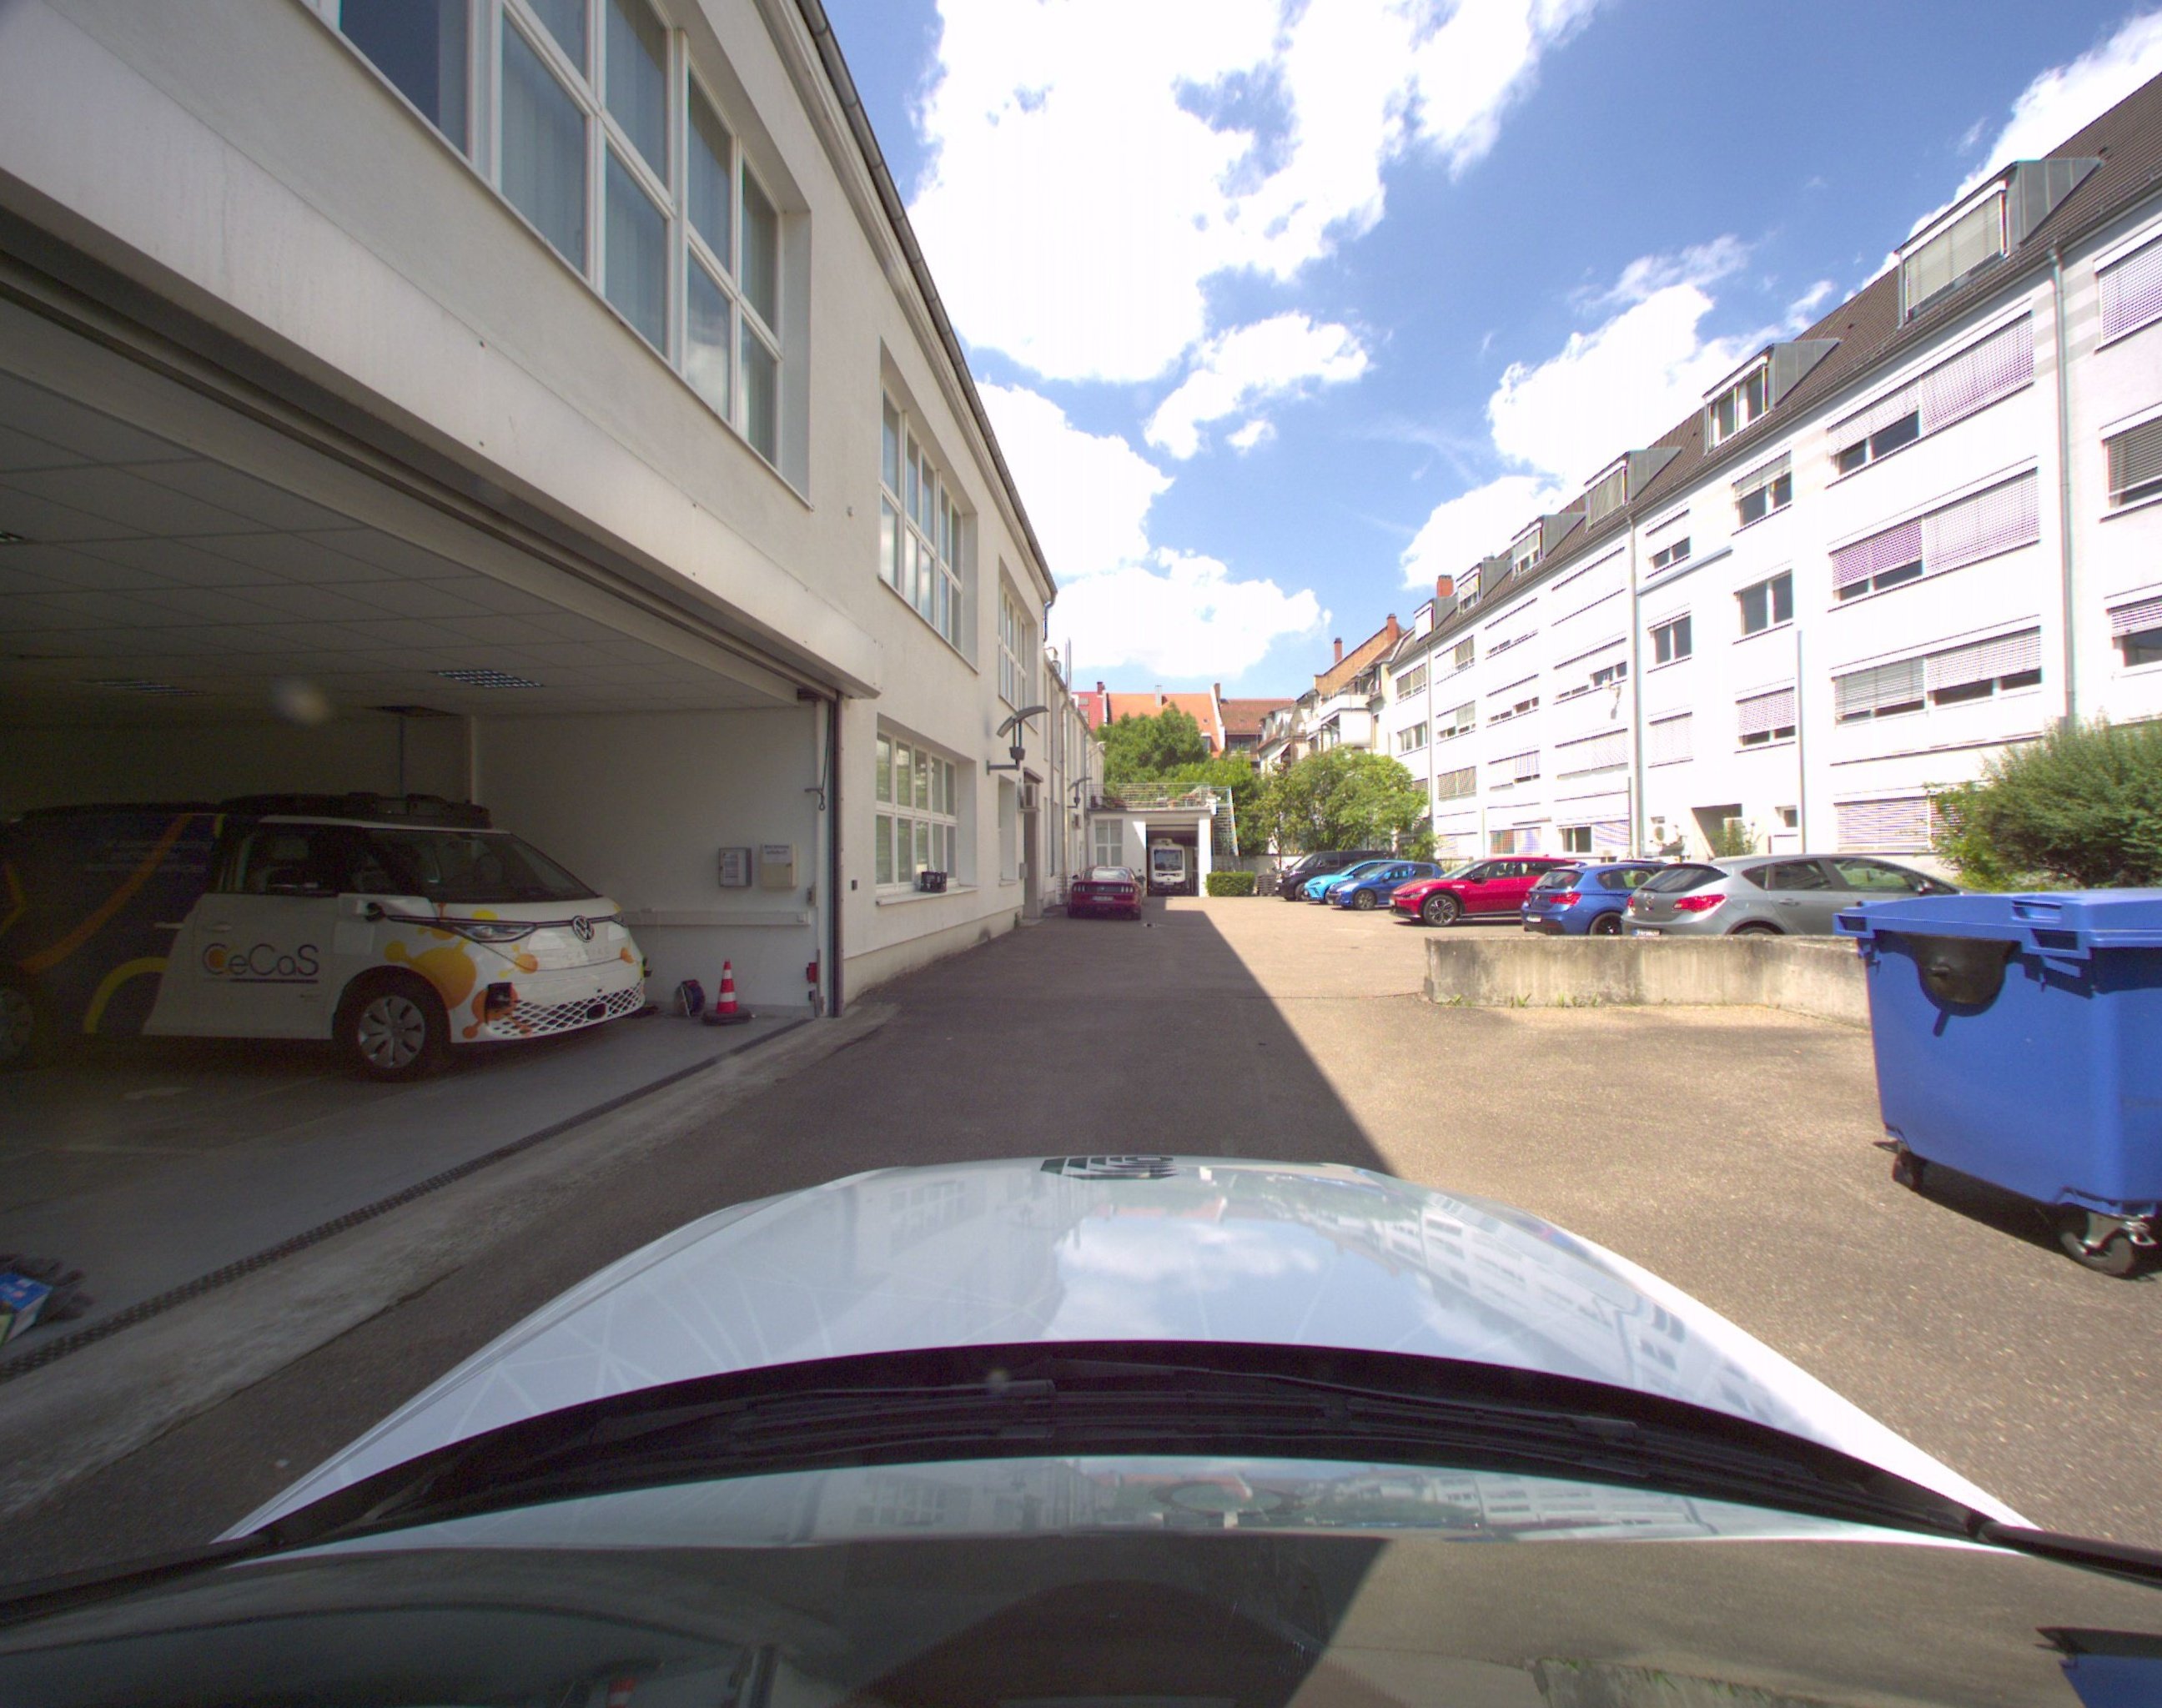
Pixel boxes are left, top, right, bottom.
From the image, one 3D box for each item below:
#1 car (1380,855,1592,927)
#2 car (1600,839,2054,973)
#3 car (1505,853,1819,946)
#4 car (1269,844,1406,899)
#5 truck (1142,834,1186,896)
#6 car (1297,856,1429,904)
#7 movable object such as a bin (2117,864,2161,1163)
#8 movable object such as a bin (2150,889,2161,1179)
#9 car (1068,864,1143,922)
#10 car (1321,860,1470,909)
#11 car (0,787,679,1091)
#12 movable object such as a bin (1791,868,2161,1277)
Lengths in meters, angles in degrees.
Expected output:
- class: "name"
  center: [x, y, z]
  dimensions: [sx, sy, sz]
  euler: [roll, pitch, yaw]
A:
- class: "car"
  center: [9.150, 0.818, 18.672]
  dimensions: [3.969, 1.478, 1.806]
  euler: [-1, -1, 4]
- class: "car"
  center: [9.151, 0.612, 10.300]
  dimensions: [3.969, 1.478, 1.806]
  euler: [-1, -1, 4]
- class: "car"
  center: [9.648, 0.737, 13.808]
  dimensions: [3.969, 1.390, 1.806]
  euler: [-1, -1, 4]
- class: "car"
  center: [9.782, 0.679, 31.352]
  dimensions: [4.656, 1.958, 2.079]
  euler: [-1, -1, 4]
- class: "truck"
  center: [4.091, 0.565, 40.980]
  dimensions: [1.782, 2.937, 4.653]
  euler: [-1, -1, 1]
- class: "car"
  center: [9.720, 0.874, 28.296]
  dimensions: [3.969, 1.534, 1.806]
  euler: [-1, -1, 4]
- class: "movable object such as a bin"
  center: [5.369, 0.697, 3.144]
  dimensions: [1.211, 1.327, 1.162]
  euler: [-1, -1, 4]
- class: "movable object such as a bin"
  center: [3.486, 0.742, 1.534]
  dimensions: [1.331, 1.327, 1.163]
  euler: [-1, -1, 8]
- class: "car"
  center: [0.758, 0.996, 22.151]
  dimensions: [1.790, 1.390, 4.006]
  euler: [-1, -1, 5]
- class: "car"
  center: [9.669, 0.935, 25.302]
  dimensions: [3.969, 1.390, 1.806]
  euler: [-1, -1, 4]
- class: "car"
  center: [-5.998, 0.564, 6.643]
  dimensions: [4.456, 2.025, 1.984]
  euler: [0, -1, 6]
- class: "movable object such as a bin"
  center: [3.954, 0.737, 3.268]
  dimensions: [1.187, 1.327, 1.162]
  euler: [-1, -1, 4]
